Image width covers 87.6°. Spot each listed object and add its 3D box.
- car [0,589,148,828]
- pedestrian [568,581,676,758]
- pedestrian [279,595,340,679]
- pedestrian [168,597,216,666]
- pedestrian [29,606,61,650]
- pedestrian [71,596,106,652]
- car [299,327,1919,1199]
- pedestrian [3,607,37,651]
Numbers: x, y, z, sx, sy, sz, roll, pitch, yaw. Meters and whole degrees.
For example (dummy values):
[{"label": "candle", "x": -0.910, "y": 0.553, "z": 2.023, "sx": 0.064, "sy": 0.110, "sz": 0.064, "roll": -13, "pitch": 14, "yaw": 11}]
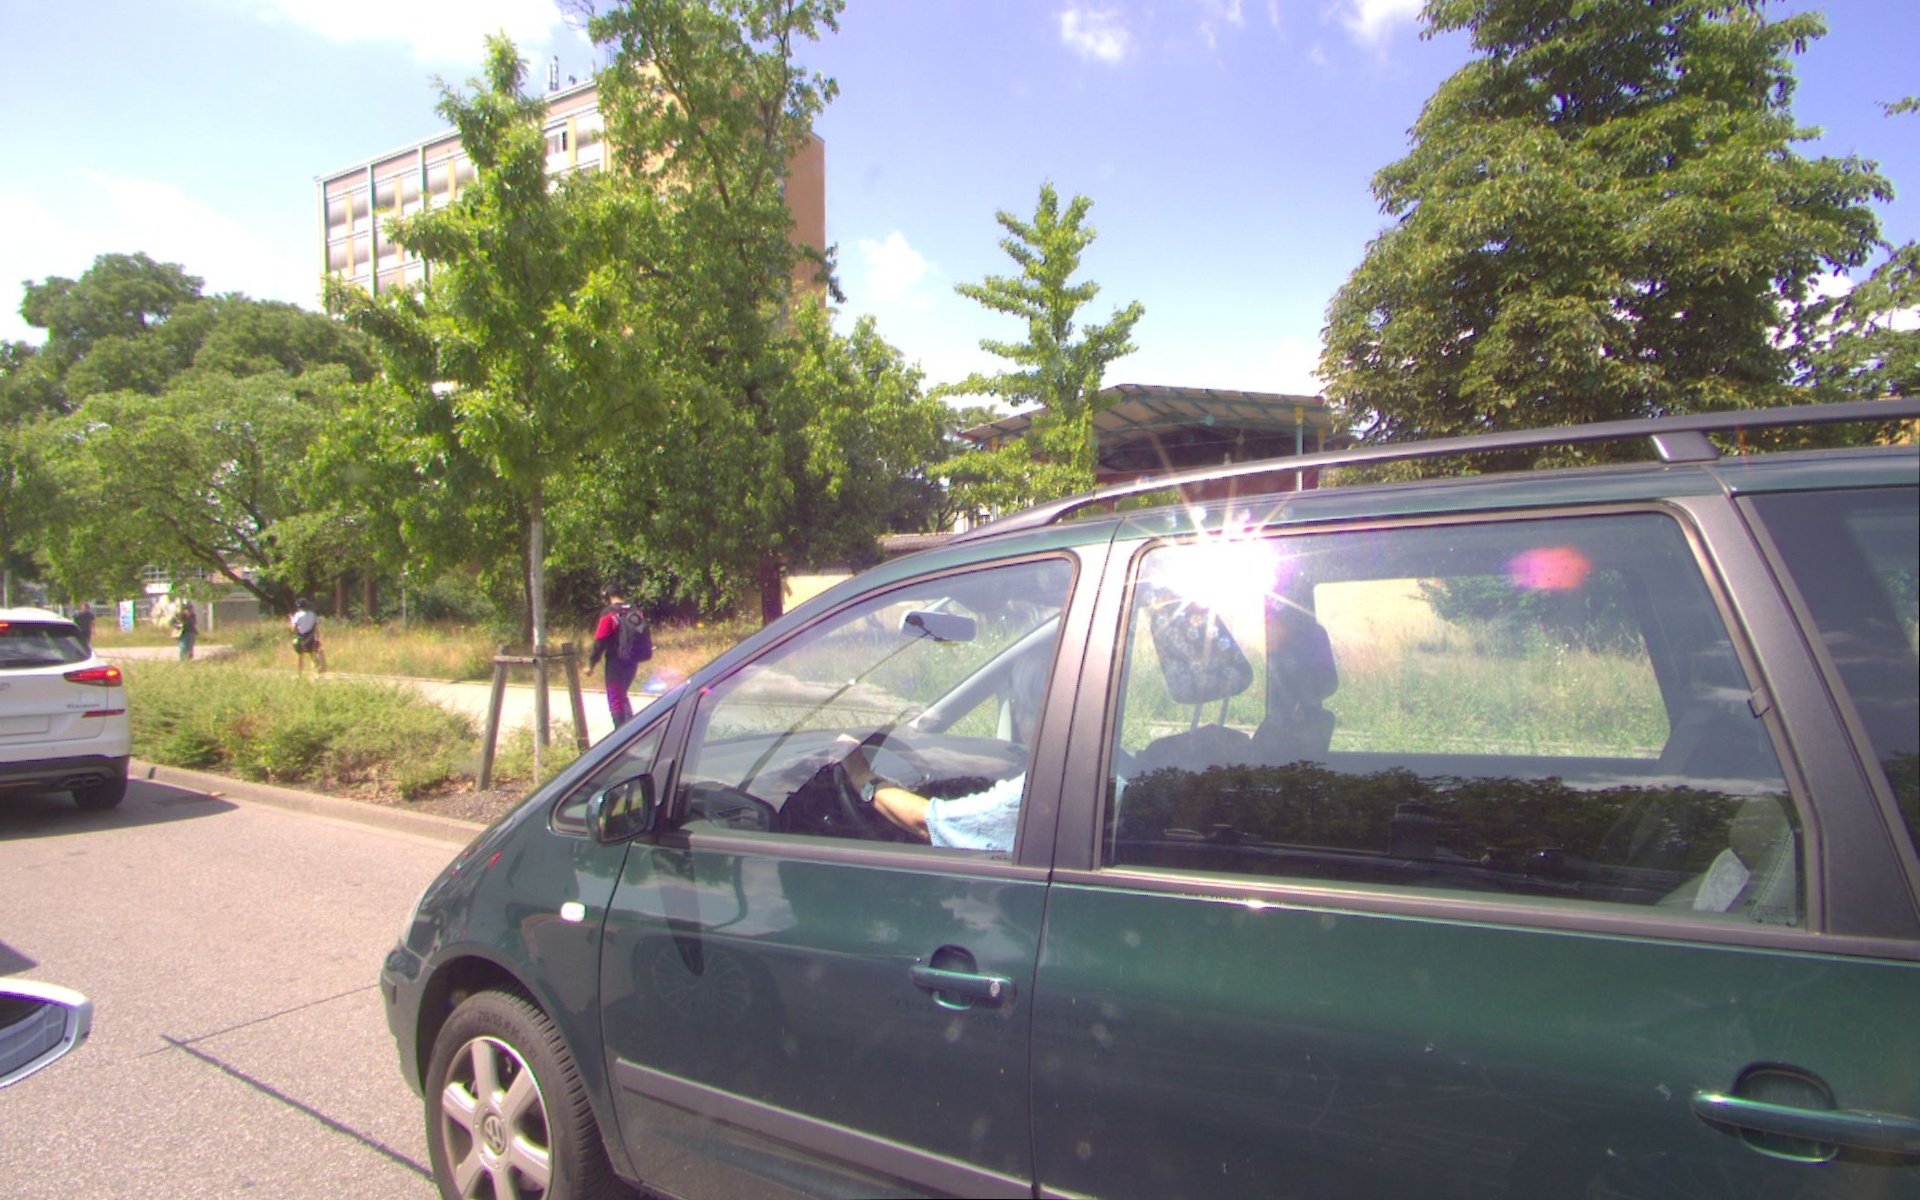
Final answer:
[{"label": "car", "x": -8.479, "y": 0.783, "z": 8.176, "sx": 3.919, "sy": 1.700, "sz": 1.810, "roll": 0, "pitch": 0, "yaw": 34}, {"label": "pedestrian", "x": -3.437, "y": 0.673, "z": 10.188, "sx": 0.807, "sy": 1.706, "sz": 0.754, "roll": 0, "pitch": 1, "yaw": 44}, {"label": "pedestrian", "x": -12.630, "y": 0.699, "z": 19.444, "sx": 0.805, "sy": 1.578, "sz": 0.756, "roll": 0, "pitch": 1, "yaw": 35}, {"label": "pedestrian", "x": -19.187, "y": 0.768, "z": 25.015, "sx": 0.805, "sy": 1.677, "sz": 0.756, "roll": 0, "pitch": 1, "yaw": 36}, {"label": "pedestrian", "x": -39.788, "y": 1.205, "z": 43.553, "sx": 0.803, "sy": 1.874, "sz": 0.759, "roll": 0, "pitch": 0, "yaw": 24}, {"label": "pedestrian", "x": -28.556, "y": 0.785, "z": 32.822, "sx": 0.806, "sy": 1.813, "sz": 0.755, "roll": 0, "pitch": 0, "yaw": 40}, {"label": "car", "x": 0.554, "y": 0.635, "z": 2.291, "sx": 4.329, "sy": 1.737, "sz": 1.799, "roll": 0, "pitch": -2, "yaw": 32}, {"label": "pedestrian", "x": -40.034, "y": 1.233, "z": 42.643, "sx": 0.802, "sy": 1.874, "sz": 0.759, "roll": 0, "pitch": 1, "yaw": 22}]
